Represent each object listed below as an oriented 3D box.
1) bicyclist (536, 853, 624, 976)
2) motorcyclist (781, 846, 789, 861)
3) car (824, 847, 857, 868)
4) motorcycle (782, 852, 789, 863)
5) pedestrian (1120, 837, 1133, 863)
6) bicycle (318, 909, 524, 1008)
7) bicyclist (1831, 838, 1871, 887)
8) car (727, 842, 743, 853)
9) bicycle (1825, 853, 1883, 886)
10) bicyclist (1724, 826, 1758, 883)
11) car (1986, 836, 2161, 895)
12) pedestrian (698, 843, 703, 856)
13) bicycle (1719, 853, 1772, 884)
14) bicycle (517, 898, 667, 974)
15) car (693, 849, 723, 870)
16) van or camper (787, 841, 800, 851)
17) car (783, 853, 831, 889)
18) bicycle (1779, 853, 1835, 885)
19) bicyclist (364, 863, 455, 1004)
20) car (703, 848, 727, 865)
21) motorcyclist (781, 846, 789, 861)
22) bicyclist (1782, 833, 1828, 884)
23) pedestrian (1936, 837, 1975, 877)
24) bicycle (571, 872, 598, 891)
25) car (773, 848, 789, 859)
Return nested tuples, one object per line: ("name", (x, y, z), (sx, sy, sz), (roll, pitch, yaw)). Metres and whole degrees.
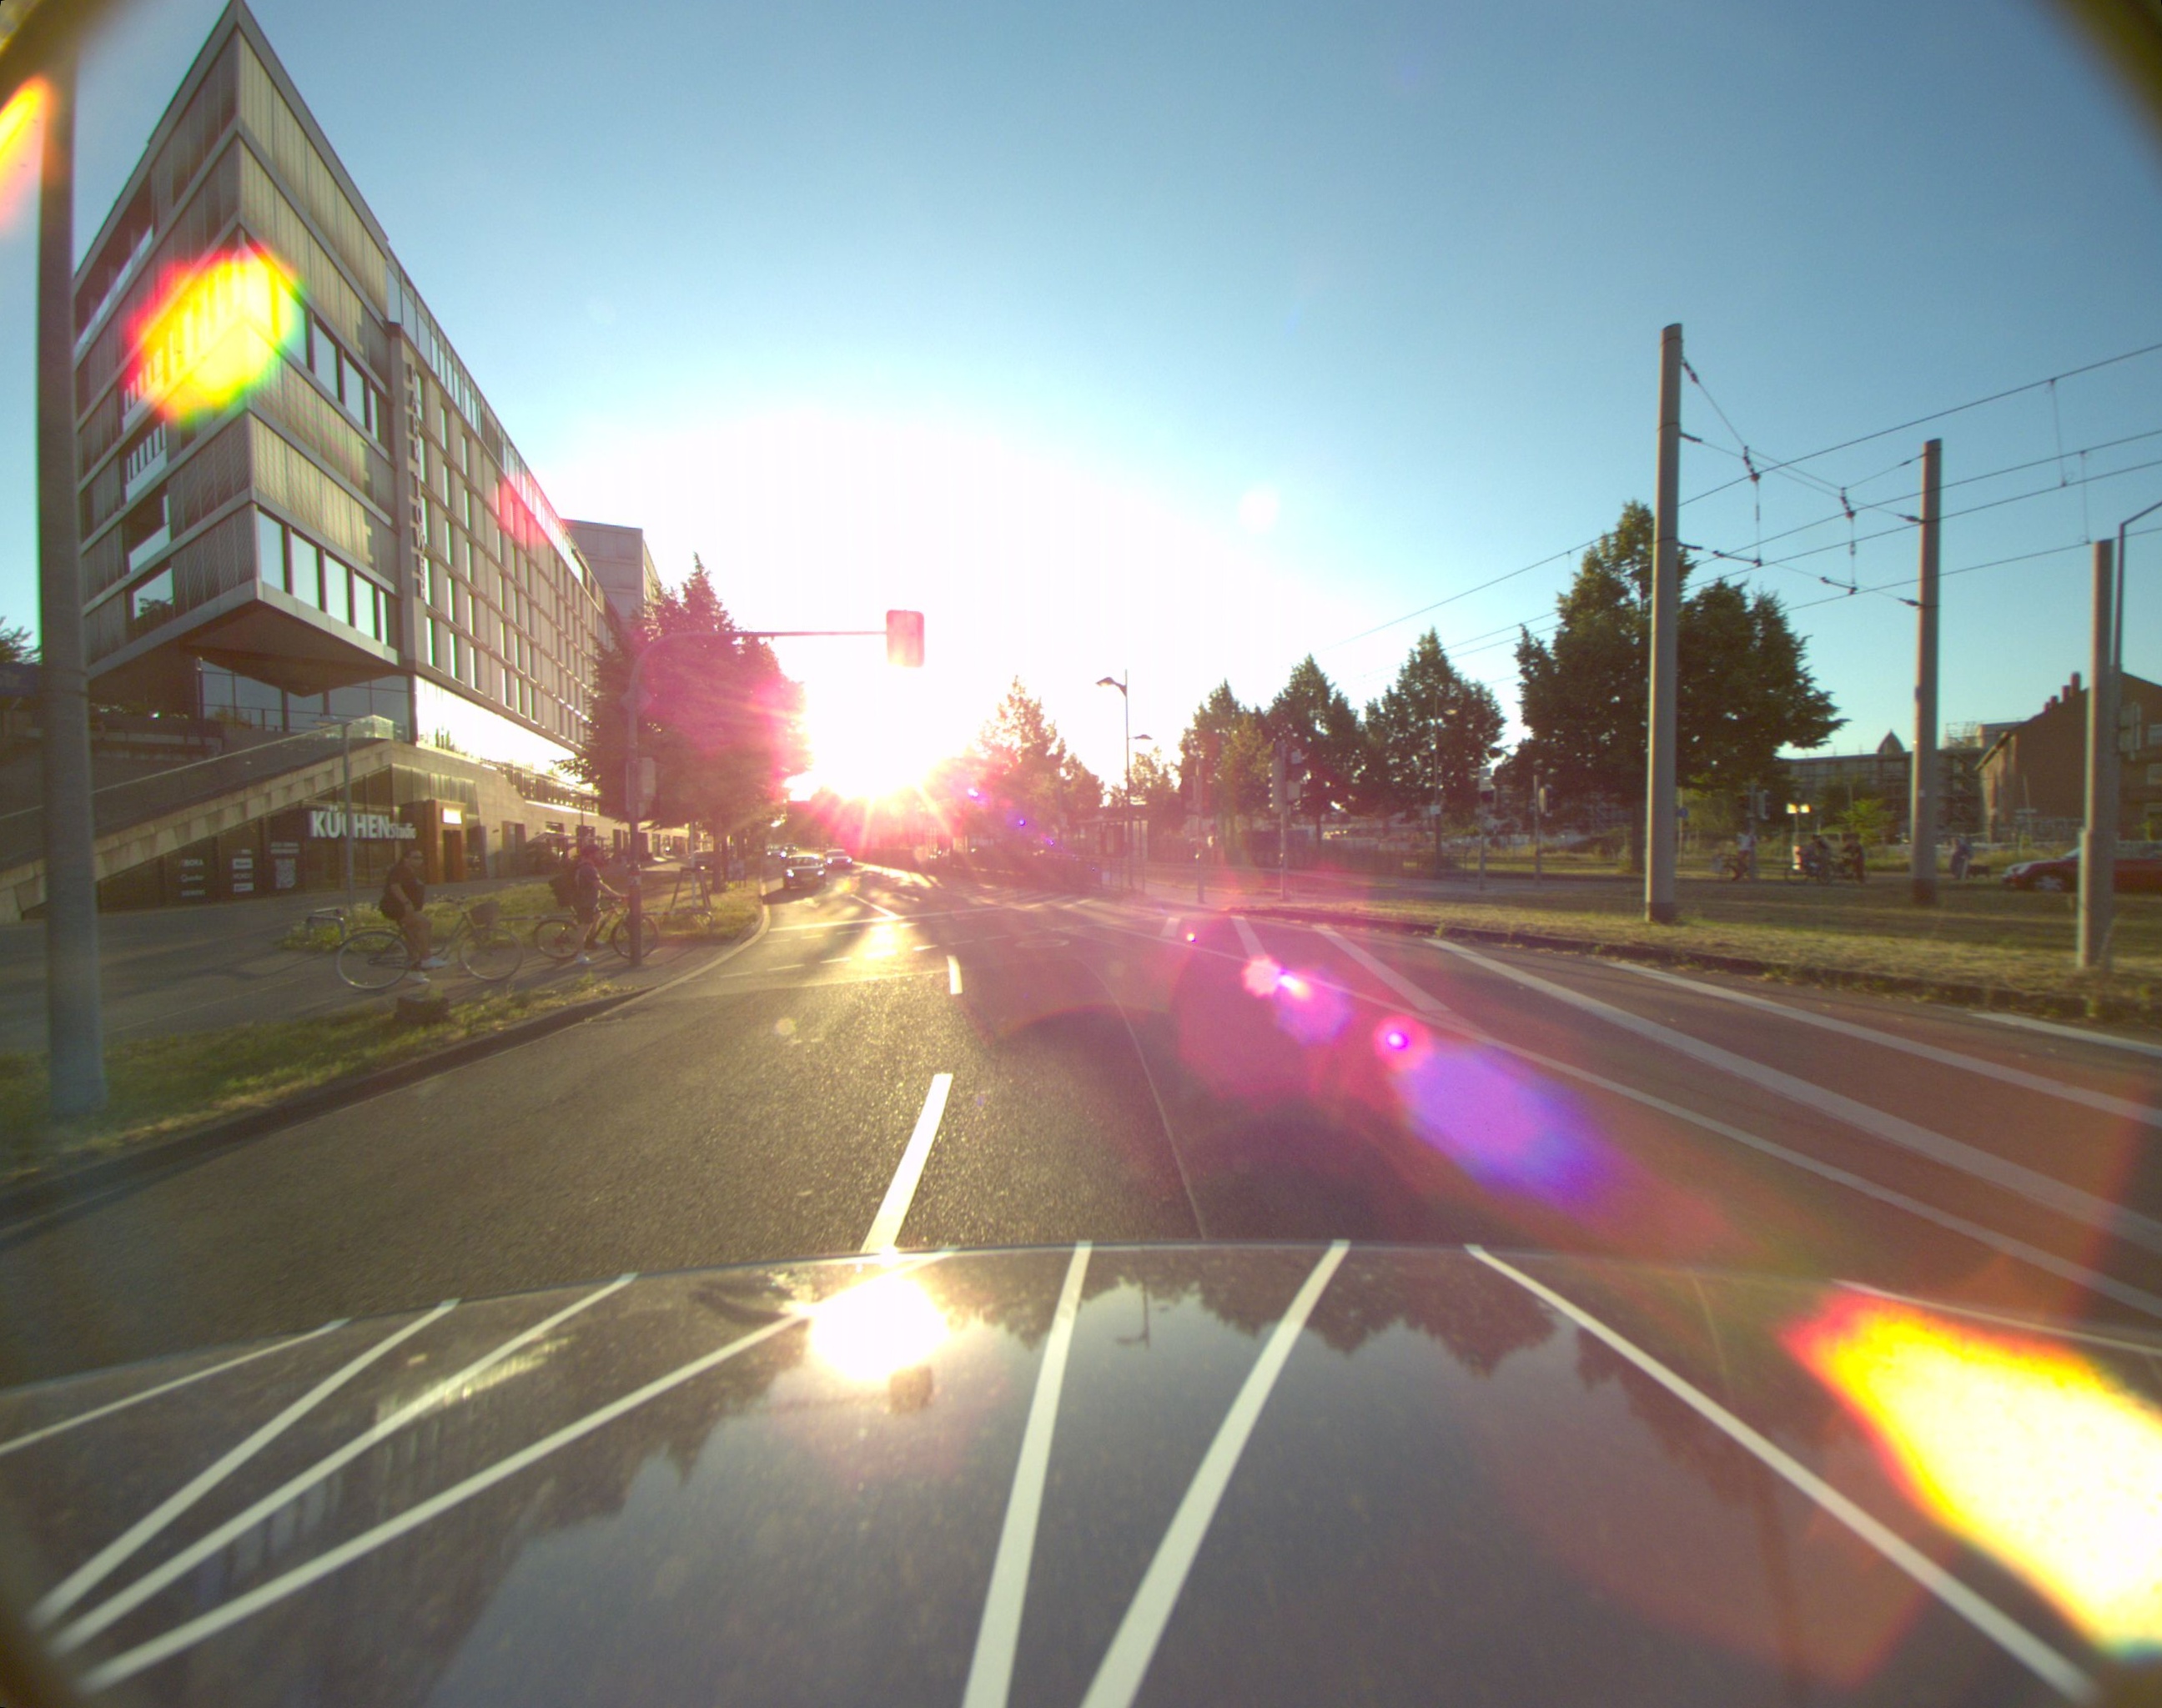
("bicyclist", (-7.548, 0.878, 11.485), (0.850, 1.745, 0.803), (-2, 2, -16))
("motorcyclist", (-29.289, -0.064, 75.168), (0.637, 1.400, 0.593), (-2, 2, -23))
("car", (-17.587, 0.232, 55.447), (1.805, 1.415, 4.440), (-2, 1, -23))
("motorcycle", (-29.165, 0.317, 74.925), (0.559, 1.094, 2.156), (-2, 1, -22))
("pedestrian", (2.958, -0.251, 49.228), (0.709, 1.623, 0.445), (-2, 2, -25))
("bicycle", (-8.105, 1.257, 9.428), (1.866, 1.017, 0.307), (-2, 2, -32))
("bicyclist", (24.163, 0.253, 23.850), (0.815, 1.497, 0.591), (-2, 2, -19))
("car", (-48.510, -0.910, 106.533), (1.805, 1.456, 3.992), (-2, 1, -23))
("bicycle", (24.349, 0.487, 23.919), (1.845, 0.975, 0.536), (-2, 1, -19))
("bicyclist", (22.678, 0.012, 26.108), (0.678, 1.907, 0.614), (-2, 2, -19))
("car", (24.939, 0.255, 18.184), (3.988, 1.324, 1.838), (0, 1, 41))
("pedestrian", (-56.605, -0.658, 112.916), (0.539, 2.002, 0.526), (-2, 2, -23))
("bicycle", (22.896, 0.484, 26.184), (1.845, 0.975, 0.549), (-2, 1, -19))
("bicycle", (-7.470, 1.236, 11.684), (1.864, 1.017, 0.437), (-1, 1, -15))
("car", (-28.370, 0.402, 57.886), (1.805, 1.456, 3.992), (-2, 1, -23))
("van or camper", (-57.838, -1.543, 152.797), (2.002, 1.946, 5.317), (-2, 2, -23))
("car", (-12.362, 0.728, 34.164), (1.805, 1.456, 3.992), (-2, 1, -23))
("bicycle", (23.937, 0.495, 25.055), (1.845, 0.975, 0.549), (-2, 1, -19))
("bicyclist", (-8.305, 0.947, 9.429), (0.685, 1.639, 0.682), (-2, 2, -32))
("car", (-34.560, 0.223, 71.780), (1.805, 1.456, 3.992), (-2, 1, -23))
("motorcyclist", (-29.037, -0.046, 74.558), (0.637, 1.408, 0.713), (-2, 2, -23))
("bicyclist", (23.927, 0.128, 25.113), (0.815, 1.631, 0.813), (-2, 2, -19))
("pedestrian", (30.364, 0.092, 26.391), (0.619, 1.358, 0.693), (-2, 2, -19))
("bicycle", (-25.213, 1.391, 38.594), (0.551, 0.847, 2.639), (-2, 1, -21))
("car", (-41.106, -0.075, 104.011), (1.895, 1.472, 4.042), (-2, 2, -23))
